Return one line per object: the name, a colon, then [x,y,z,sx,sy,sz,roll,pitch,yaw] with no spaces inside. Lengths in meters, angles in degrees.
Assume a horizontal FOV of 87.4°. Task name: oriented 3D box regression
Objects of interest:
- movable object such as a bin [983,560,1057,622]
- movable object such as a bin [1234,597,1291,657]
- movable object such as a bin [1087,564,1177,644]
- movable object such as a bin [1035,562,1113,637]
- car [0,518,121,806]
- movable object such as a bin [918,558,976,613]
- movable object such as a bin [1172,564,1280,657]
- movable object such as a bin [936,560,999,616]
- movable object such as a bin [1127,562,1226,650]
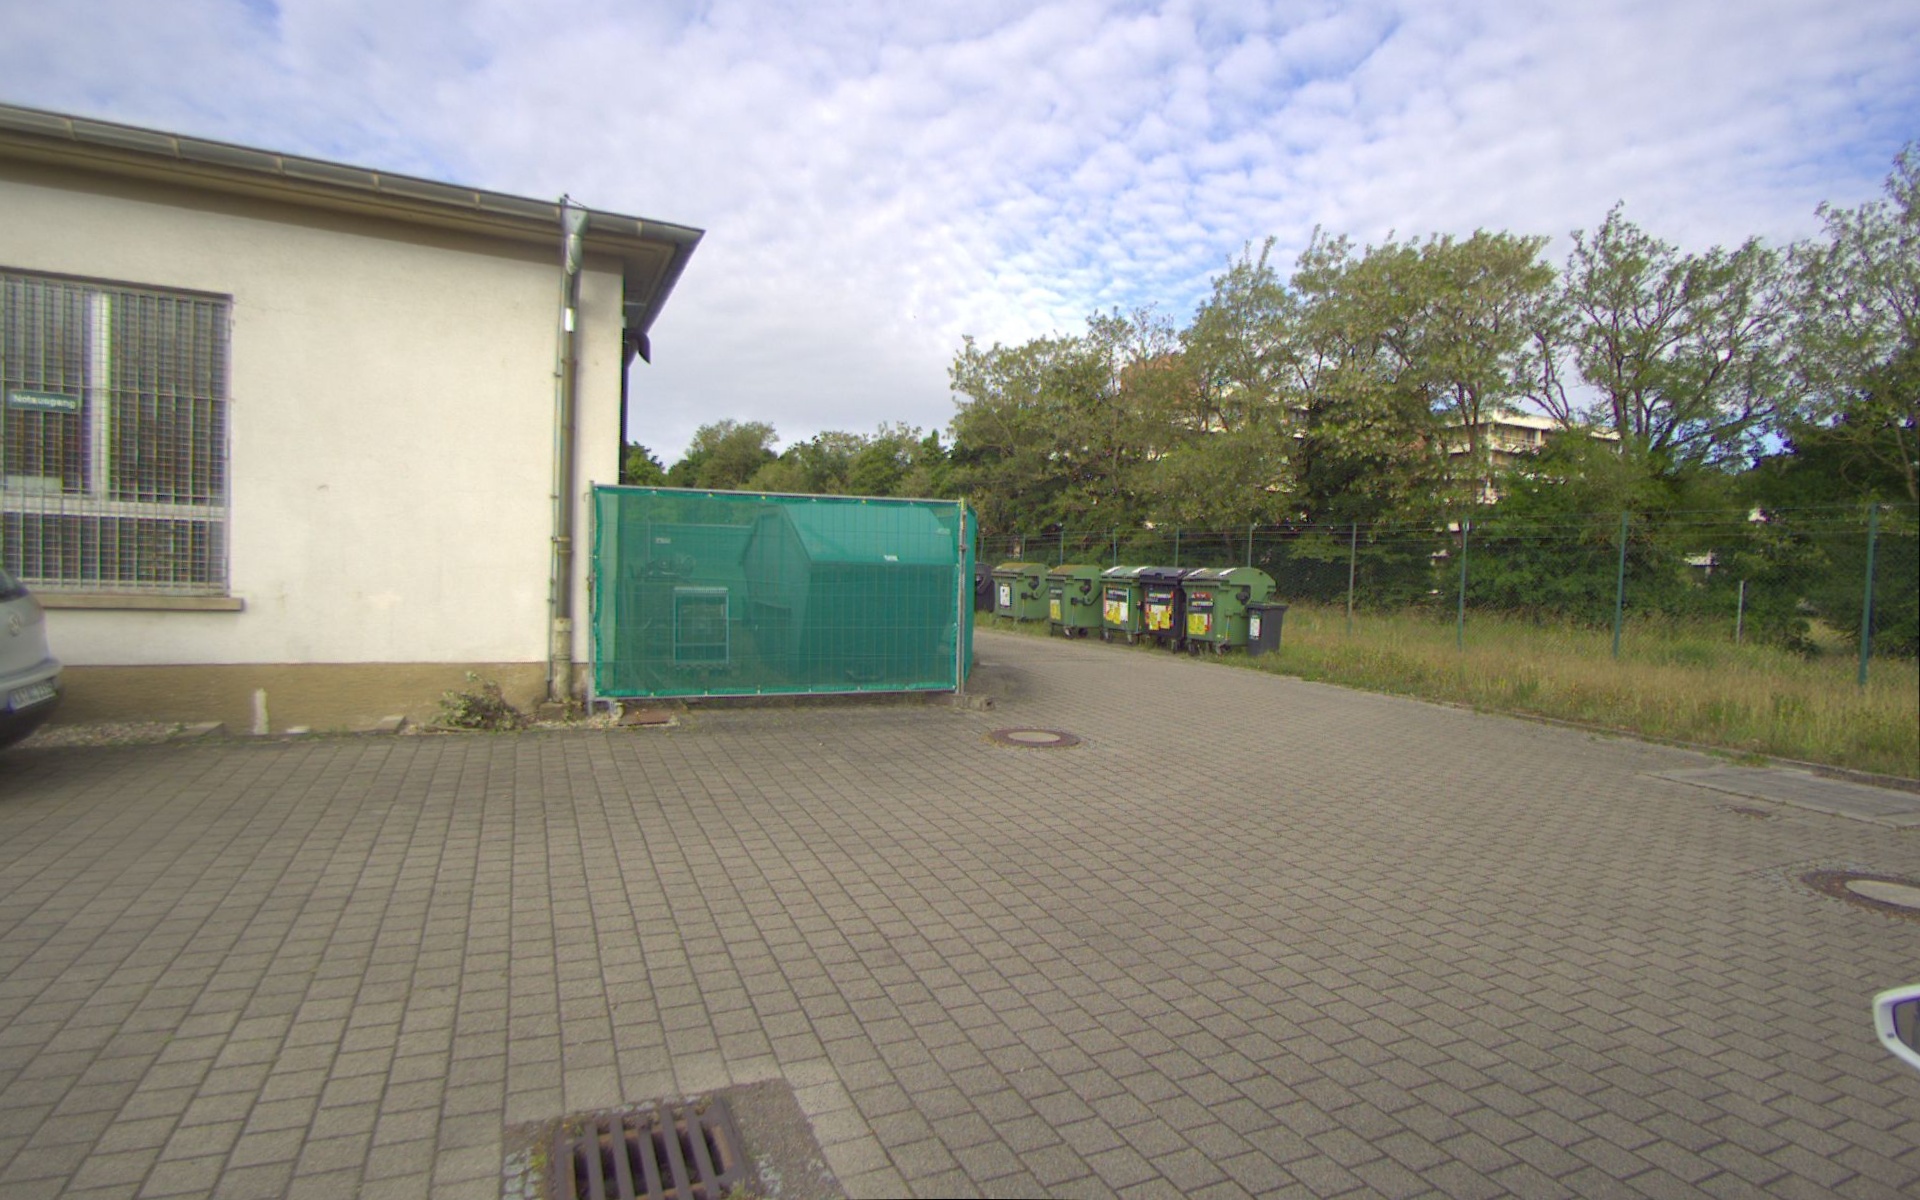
movable object such as a bin: [1.317,-0.209,22.428,1.111,1.313,1.371,2,1,-25]
movable object such as a bin: [4.635,0.405,15.393,0.592,0.877,0.584,2,1,-15]
movable object such as a bin: [3.180,0.061,18.718,1.057,1.424,1.378,2,1,-21]
movable object such as a bin: [2.258,-0.027,20.030,1.107,1.417,1.381,2,1,-13]
car: [-7.118,0.242,4.846,4.306,1.458,1.919,1,3,-23]
movable object such as a bin: [-0.364,-0.386,26.884,1.109,1.392,1.487,2,1,-18]
movable object such as a bin: [4.281,0.148,16.276,1.113,1.414,1.352,2,1,-15]
movable object such as a bin: [0.179,-0.314,25.408,1.140,1.343,1.487,2,1,-18]
movable object such as a bin: [3.745,0.093,17.519,1.057,1.454,1.391,2,1,-21]
